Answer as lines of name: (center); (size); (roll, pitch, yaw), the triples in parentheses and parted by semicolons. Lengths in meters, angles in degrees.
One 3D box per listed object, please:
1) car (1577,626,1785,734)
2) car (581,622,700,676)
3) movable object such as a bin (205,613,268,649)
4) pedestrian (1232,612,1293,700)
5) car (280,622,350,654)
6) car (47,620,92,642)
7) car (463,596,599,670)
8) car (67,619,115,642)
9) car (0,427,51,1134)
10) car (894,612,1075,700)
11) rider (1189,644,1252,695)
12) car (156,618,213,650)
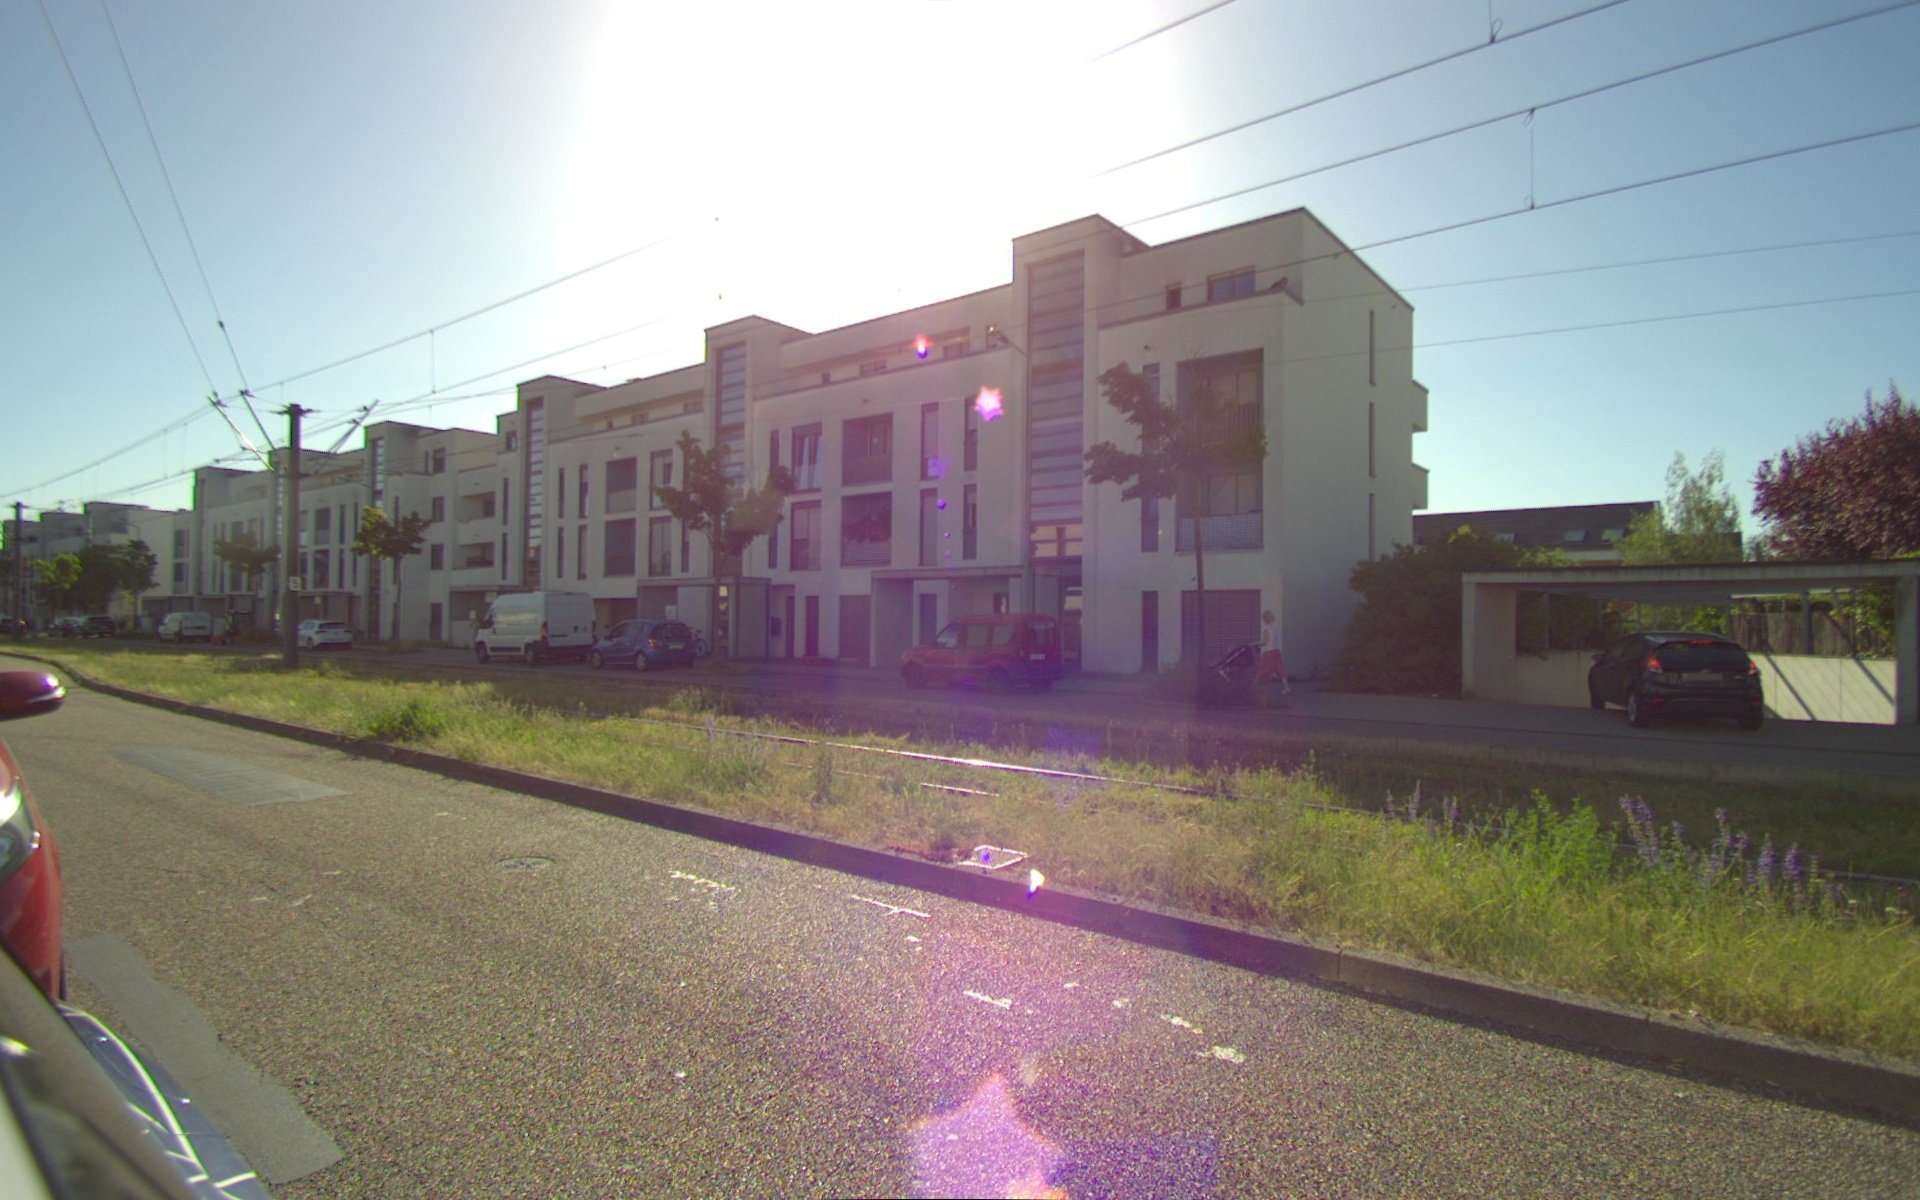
car: (11.613, 1.203, 16.594); (1.695, 1.441, 3.718); (1, 0, 18)
car: (-10.031, 1.481, 31.662); (3.840, 1.548, 1.805); (-1, -1, 41)
movable object such as a bin: (-41.041, 1.724, 57.401); (4.149, 1.952, 1.745); (-1, -1, 37)
pedestrian: (6.266, 1.131, 20.993); (0.806, 1.761, 0.910); (0, -1, -44)
car: (-31.170, 1.817, 48.867); (4.149, 1.443, 1.503); (-1, -1, 37)
car: (-67.571, 2.327, 76.785); (4.149, 1.611, 1.745); (-1, -1, 37)
car: (-15.372, 1.131, 36.128); (5.583, 2.463, 2.119); (-1, -1, 39)
car: (-63.051, 2.228, 73.413); (4.149, 1.611, 1.745); (-1, -1, 37)
car: (-5.163, 0.547, 3.868); (5.203, 1.948, 1.954); (-1, 0, 42)
car: (0.509, 1.212, 23.013); (3.836, 1.809, 1.861); (-1, -1, 42)
rider: (5.584, 1.470, 21.707); (0.769, 1.010, 1.046); (0, -1, -44)
car: (-47.251, 2.069, 61.640); (4.149, 1.884, 1.745); (-1, -1, 37)
